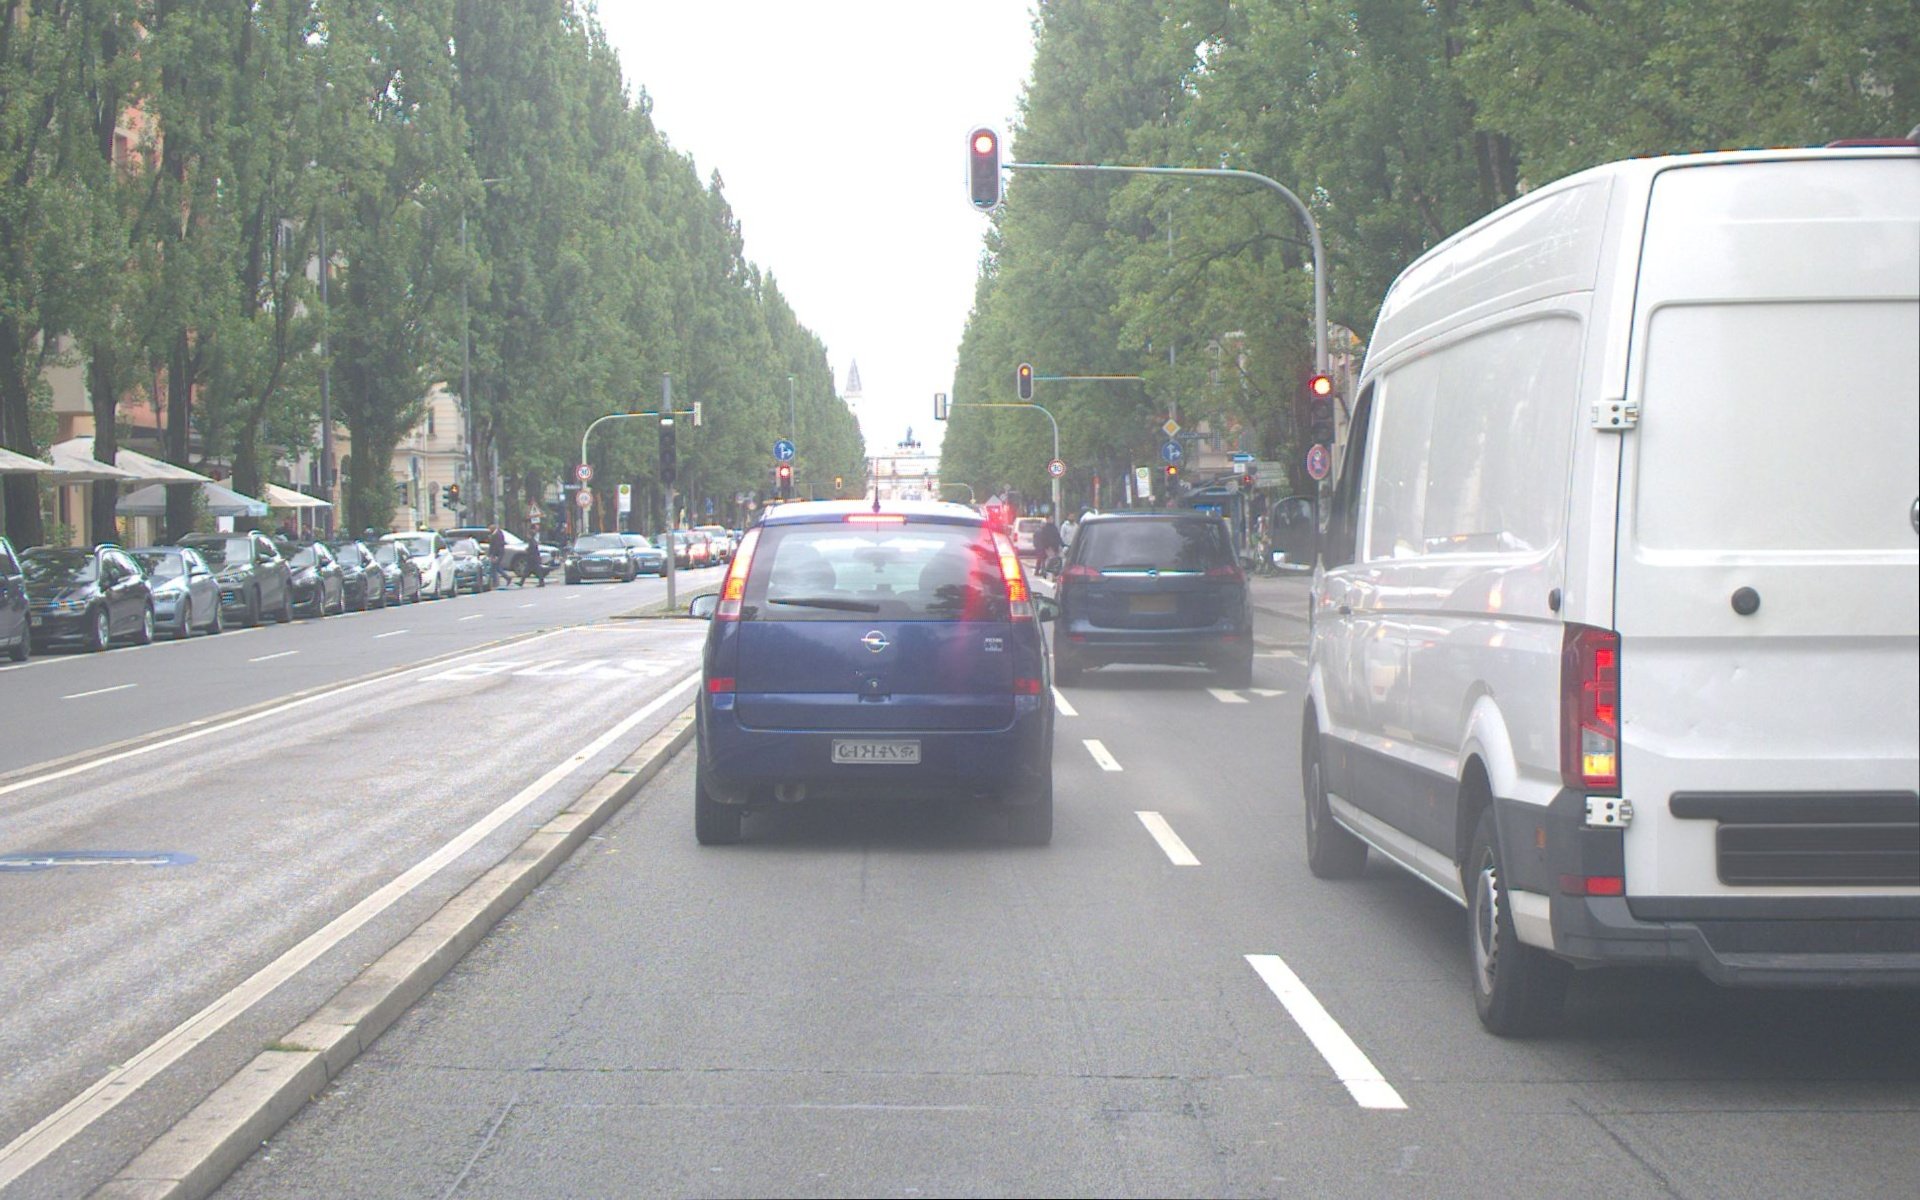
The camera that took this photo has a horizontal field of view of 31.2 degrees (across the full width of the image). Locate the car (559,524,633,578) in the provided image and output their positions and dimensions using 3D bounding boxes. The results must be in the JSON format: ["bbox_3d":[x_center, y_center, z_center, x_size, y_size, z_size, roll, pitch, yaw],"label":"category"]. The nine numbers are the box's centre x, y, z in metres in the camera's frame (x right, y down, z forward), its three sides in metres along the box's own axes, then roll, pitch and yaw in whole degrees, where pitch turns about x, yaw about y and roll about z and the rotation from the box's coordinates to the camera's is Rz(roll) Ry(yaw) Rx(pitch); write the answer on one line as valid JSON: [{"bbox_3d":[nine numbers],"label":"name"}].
[{"bbox_3d":[-10.647,-1.465,100.774,1.697,1.457,4.713,-2,1,-1],"label":"car"}]

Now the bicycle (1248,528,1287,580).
[{"bbox_3d":[8.222,-1.233,91.939,0.772,1.344,2.450,-1,1,-1],"label":"bicycle"}]

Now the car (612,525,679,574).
[{"bbox_3d":[-9.958,-1.616,108.926,1.745,1.429,4.130,-2,1,-1],"label":"car"}]

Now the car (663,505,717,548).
[{"bbox_3d":[-10.719,-2.916,136.739,1.866,1.660,4.120,-1,1,-1],"label":"car"}]

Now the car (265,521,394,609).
[{"bbox_3d":[-12.873,-0.736,70.428,1.866,1.660,4.120,-2,1,-1],"label":"car"}]

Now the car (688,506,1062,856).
[{"bbox_3d":[-0.401,0.312,17.353,1.671,1.563,4.000,0,1,-1],"label":"car"}]

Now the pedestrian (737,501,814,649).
[{"bbox_3d":[-2.132,-0.296,39.634,0.859,1.678,0.627,-1,1,-3],"label":"pedestrian"}]

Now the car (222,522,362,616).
[{"bbox_3d":[-12.718,-0.622,65.677,1.866,1.660,4.120,-2,1,-1],"label":"car"}]

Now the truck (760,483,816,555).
[{"bbox_3d":[-8.245,-3.891,165.059,2.383,3.335,7.111,-1,1,-1],"label":"truck"}]

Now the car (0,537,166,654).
[{"bbox_3d":[-12.498,-0.093,48.014,1.798,1.483,4.351,-2,1,-1],"label":"car"}]

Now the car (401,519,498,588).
[{"bbox_3d":[-13.117,-1.212,88.487,1.866,1.660,4.120,-2,1,-1],"label":"car"}]

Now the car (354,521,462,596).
[{"bbox_3d":[-13.005,-1.002,81.213,1.866,1.660,4.120,-2,1,-1],"label":"car"}]

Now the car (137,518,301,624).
[{"bbox_3d":[-12.683,-0.531,59.108,1.866,1.660,4.401,-2,1,-1],"label":"car"}]

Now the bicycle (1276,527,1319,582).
[{"bbox_3d":[8.408,-1.150,85.808,0.772,1.344,2.450,-1,1,-1],"label":"bicycle"}]

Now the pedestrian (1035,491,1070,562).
[{"bbox_3d":[2.413,-1.909,89.609,0.719,1.820,0.888,1,1,-11],"label":"pedestrian"}]

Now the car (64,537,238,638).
[{"bbox_3d":[-12.552,-0.222,53.571,1.733,1.421,4.144,-2,1,-1],"label":"car"}]

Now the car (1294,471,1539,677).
[{"bbox_3d":[4.551,-0.304,34.933,1.787,1.939,4.731,0,1,-1],"label":"car"}]

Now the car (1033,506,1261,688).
[{"bbox_3d":[1.704,-0.072,32.568,1.896,1.616,4.000,0,1,-1],"label":"car"}]

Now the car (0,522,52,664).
[{"bbox_3d":[-12.563,-0.072,42.639,1.709,1.715,3.923,-2,1,-4],"label":"car"}]

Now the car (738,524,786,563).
[{"bbox_3d":[-7.791,-2.234,135.298,1.735,1.460,3.365,-1,1,-1],"label":"car"}]

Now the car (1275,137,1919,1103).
[{"bbox_3d":[2.492,-0.031,12.206,2.063,2.484,6.731,0,1,-1],"label":"car"}]

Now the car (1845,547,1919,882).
[{"bbox_3d":[4.960,0.509,13.147,1.709,1.388,4.345,0,1,-5],"label":"car"}]

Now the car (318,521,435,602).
[{"bbox_3d":[-12.855,-0.883,75.954,1.866,1.660,4.120,-2,1,-1],"label":"car"}]
